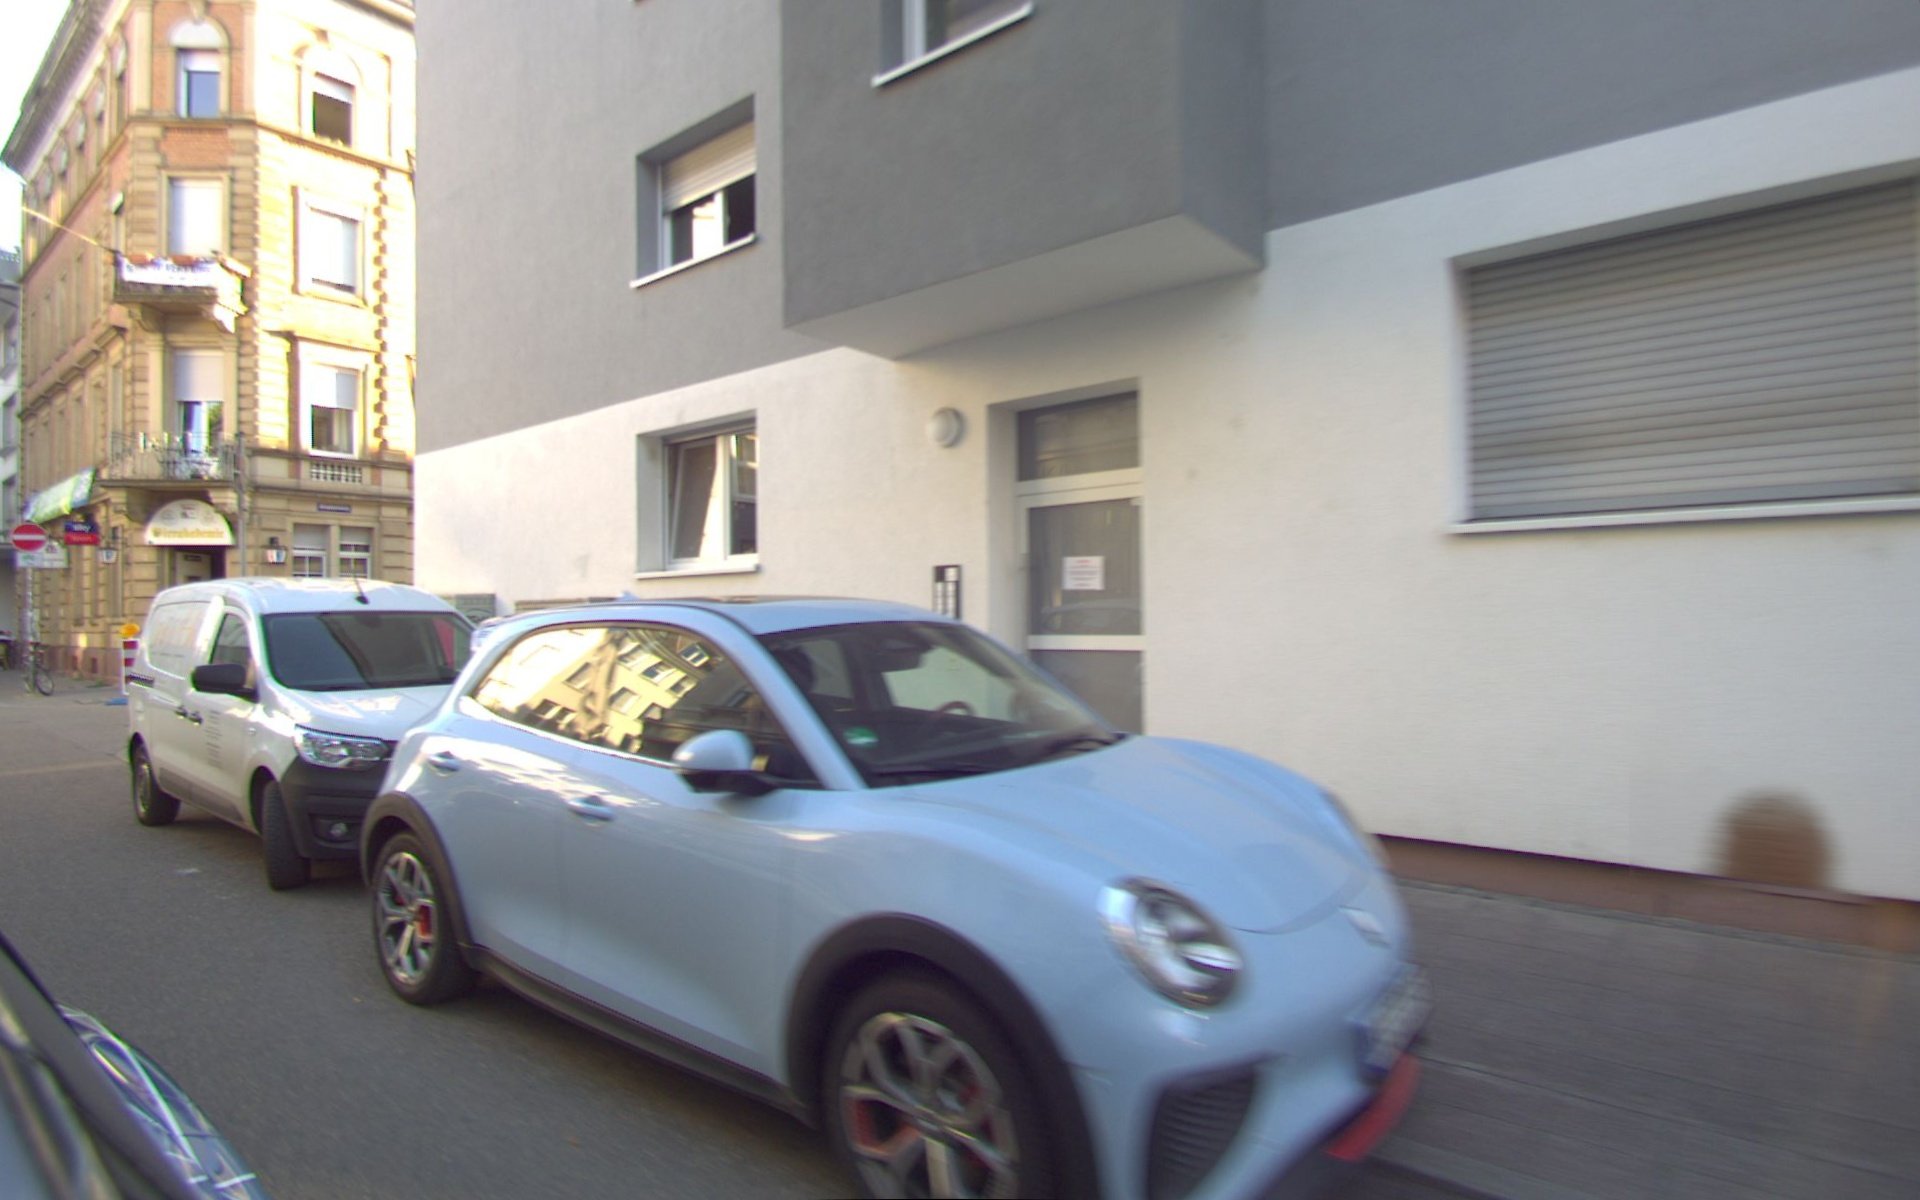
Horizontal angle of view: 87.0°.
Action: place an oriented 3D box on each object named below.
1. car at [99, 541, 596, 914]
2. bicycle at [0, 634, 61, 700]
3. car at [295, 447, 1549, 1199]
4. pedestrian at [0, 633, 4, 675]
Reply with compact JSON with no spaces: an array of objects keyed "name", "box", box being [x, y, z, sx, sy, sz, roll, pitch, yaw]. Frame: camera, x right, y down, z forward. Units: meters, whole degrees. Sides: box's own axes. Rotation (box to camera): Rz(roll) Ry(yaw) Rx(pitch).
[{"name":"car","box":[-4.359,0.696,6.930,4.181,1.827,1.615,-2,-2,39]},{"name":"bicycle","box":[-19.531,1.376,21.188,1.760,1.285,0.653,-2,1,36]},{"name":"car","box":[-0.500,0.637,3.652,4.357,1.576,1.748,-3,-3,36]},{"name":"pedestrian","box":[-31.513,1.742,32.632,0.824,1.350,0.808,1,-2,-30]}]
